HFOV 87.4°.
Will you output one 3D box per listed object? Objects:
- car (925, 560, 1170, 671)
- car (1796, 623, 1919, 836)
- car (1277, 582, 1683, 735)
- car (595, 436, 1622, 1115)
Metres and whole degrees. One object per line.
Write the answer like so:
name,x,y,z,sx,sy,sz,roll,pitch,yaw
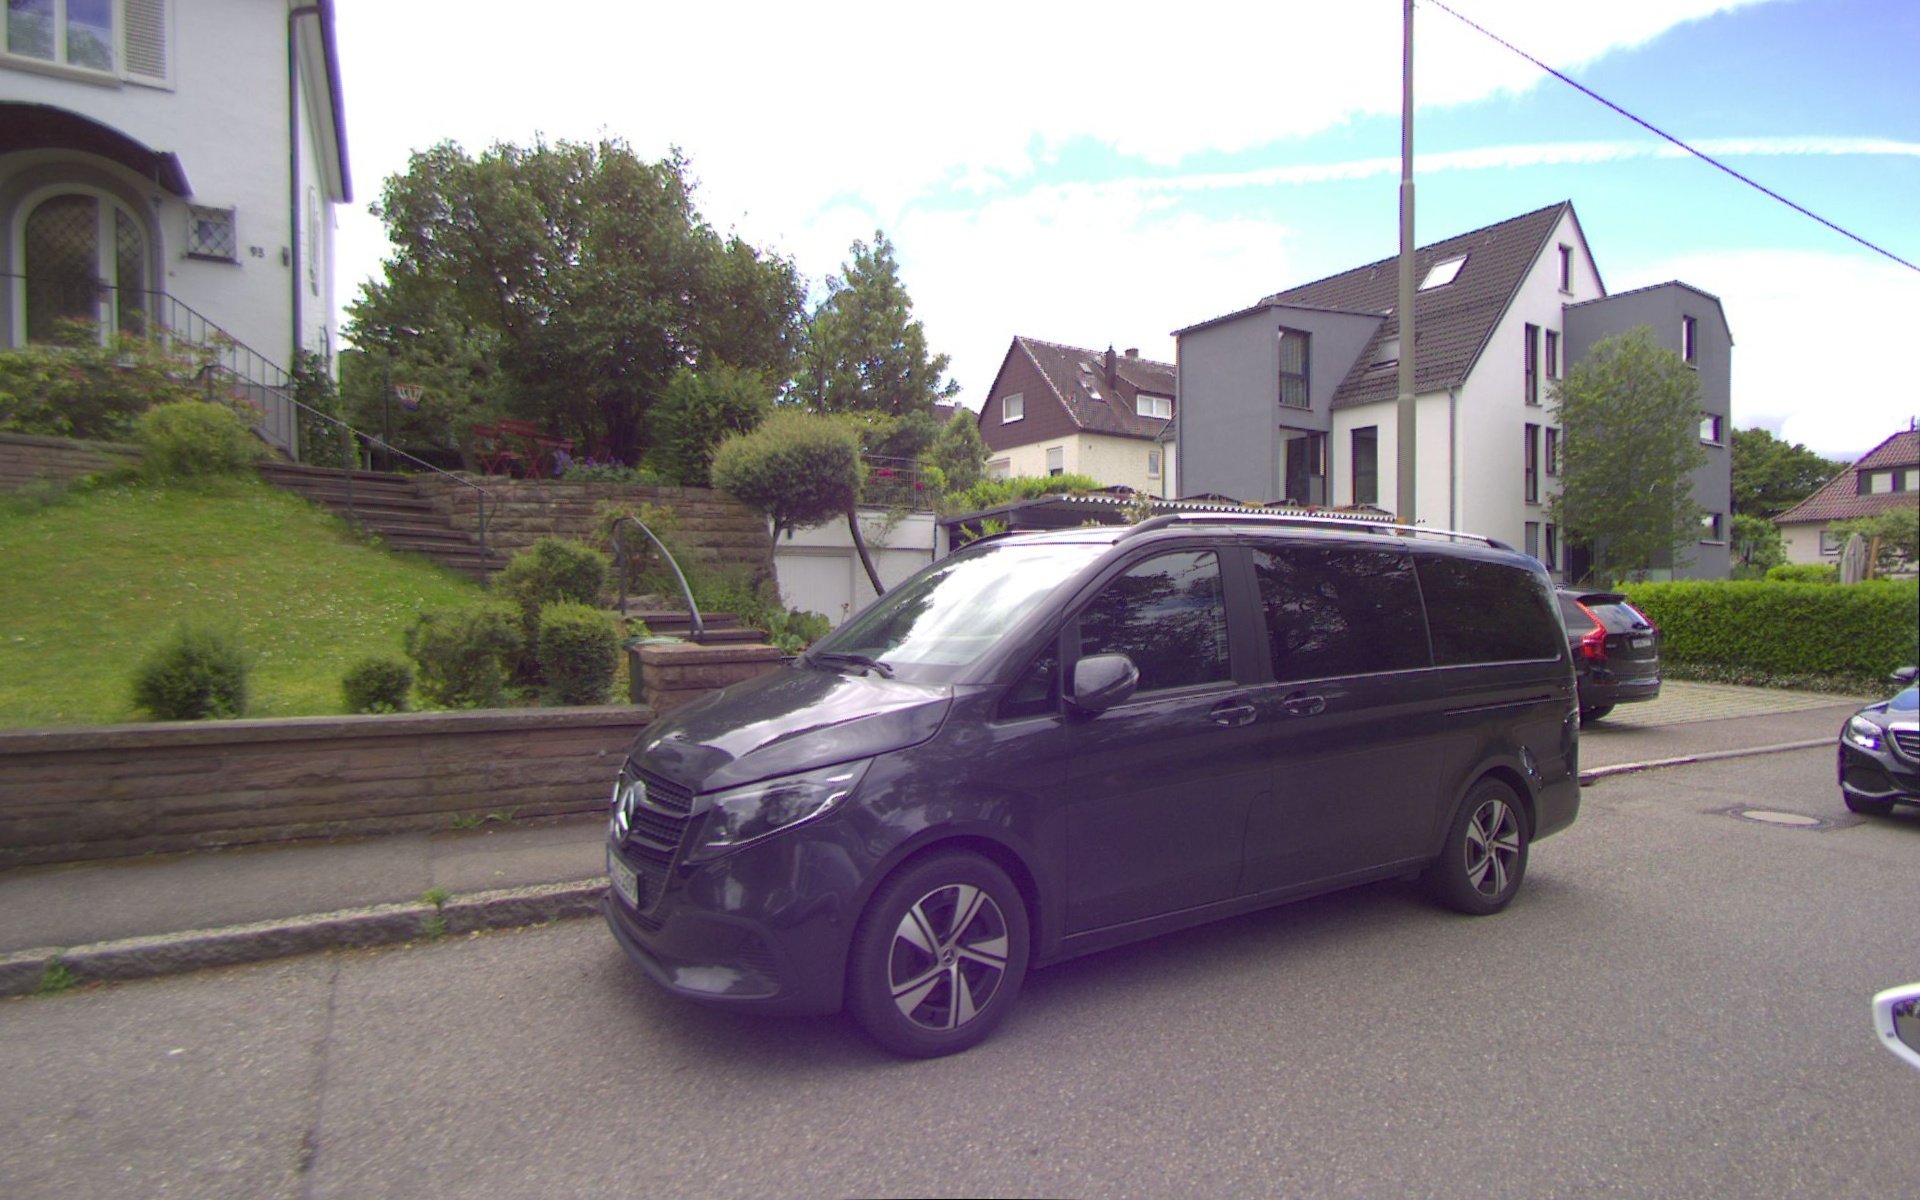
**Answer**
car,1.402,0.216,18.027,1.978,1.720,4.589,-1,1,-33
car,8.655,0.958,7.863,4.540,1.433,1.853,1,1,-31
car,6.875,0.672,13.810,1.979,1.720,4.589,1,0,-33
car,0.984,0.544,4.980,4.980,1.952,1.853,1,1,-31
